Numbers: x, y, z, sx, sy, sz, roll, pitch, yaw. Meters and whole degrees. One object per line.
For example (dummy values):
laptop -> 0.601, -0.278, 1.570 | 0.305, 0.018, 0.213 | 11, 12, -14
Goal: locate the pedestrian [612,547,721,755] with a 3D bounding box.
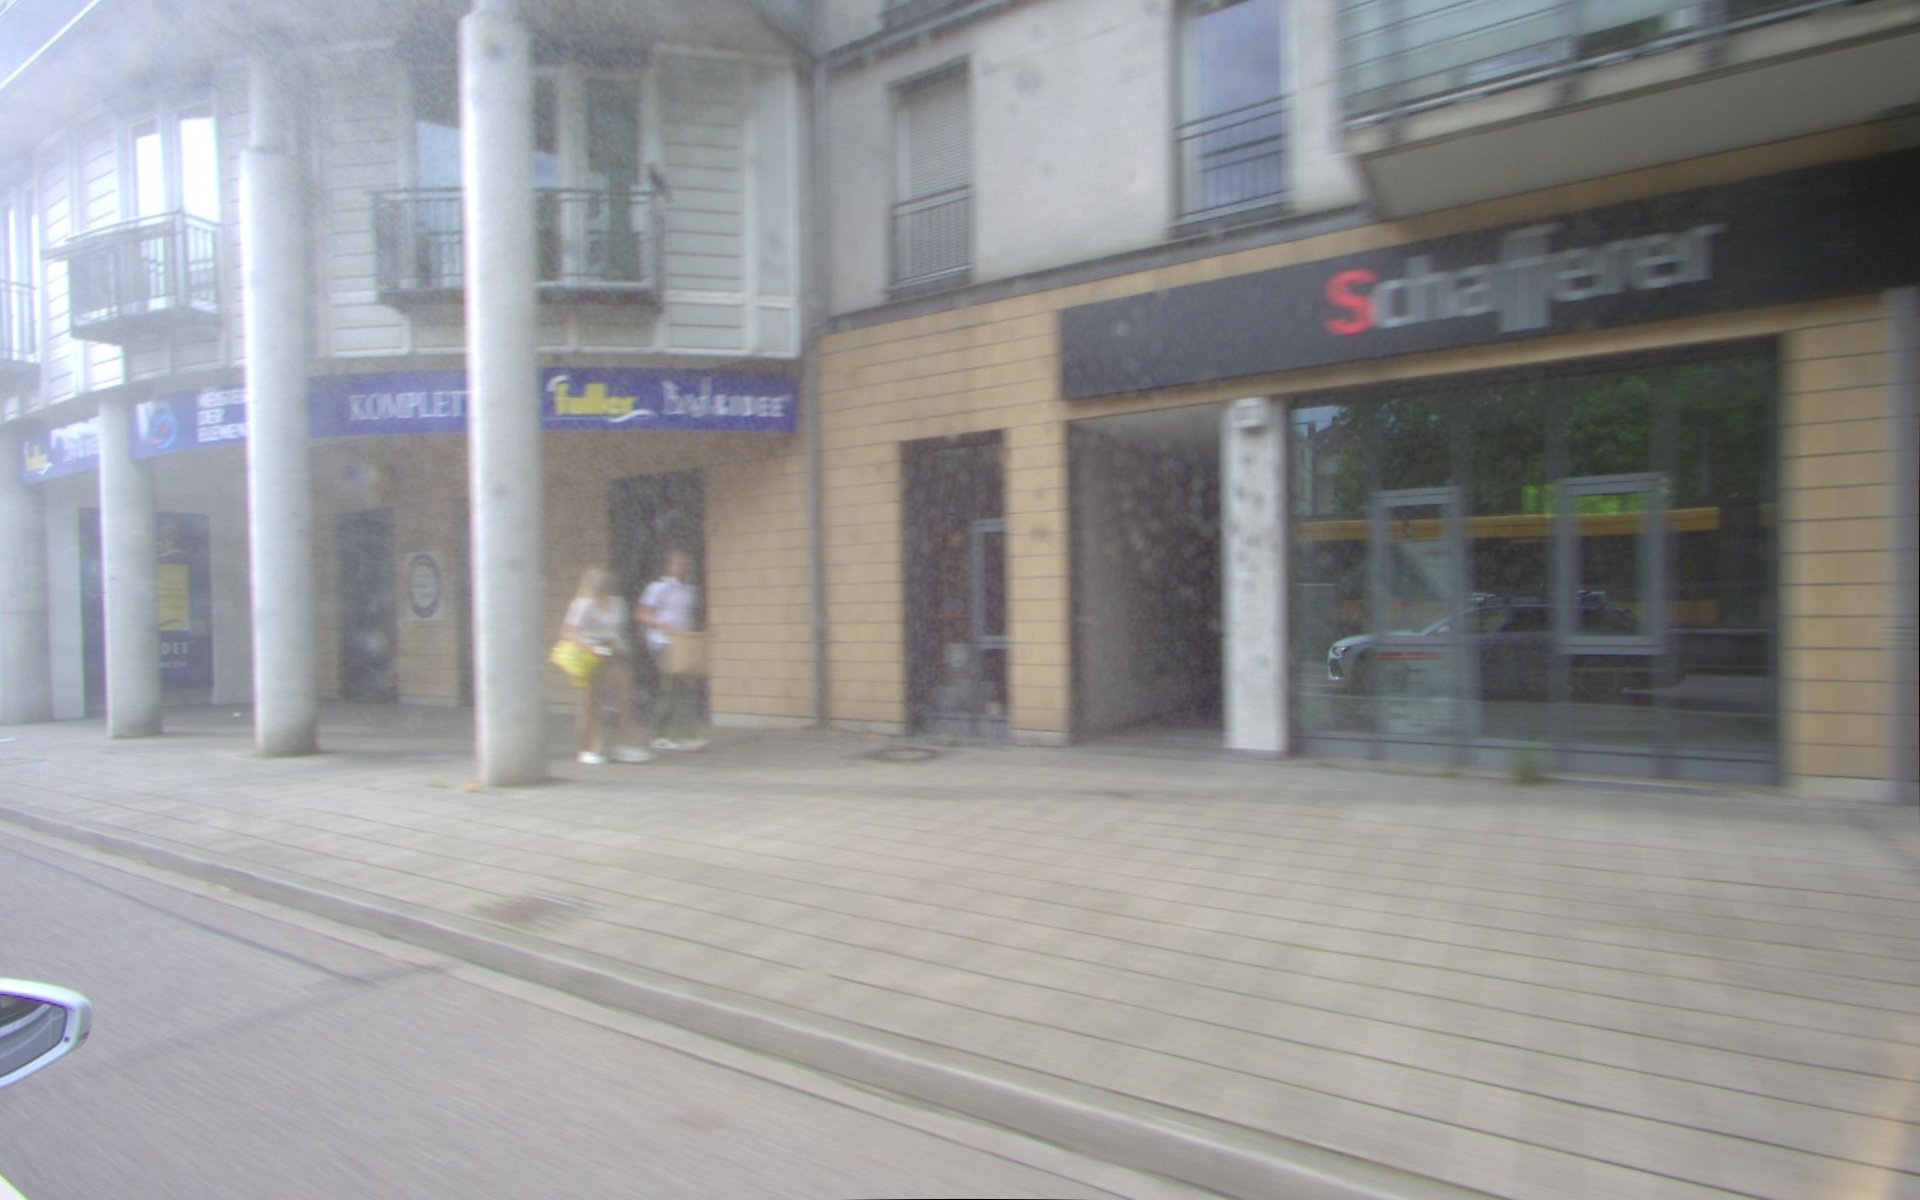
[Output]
pedestrian -> -2.829, 0.470, 9.679 | 0.727, 1.916, 0.673 | 0, 1, 34

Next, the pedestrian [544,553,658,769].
pedestrian -> -3.203, 0.520, 8.940 | 0.727, 1.830, 0.614 | 0, 1, 34
